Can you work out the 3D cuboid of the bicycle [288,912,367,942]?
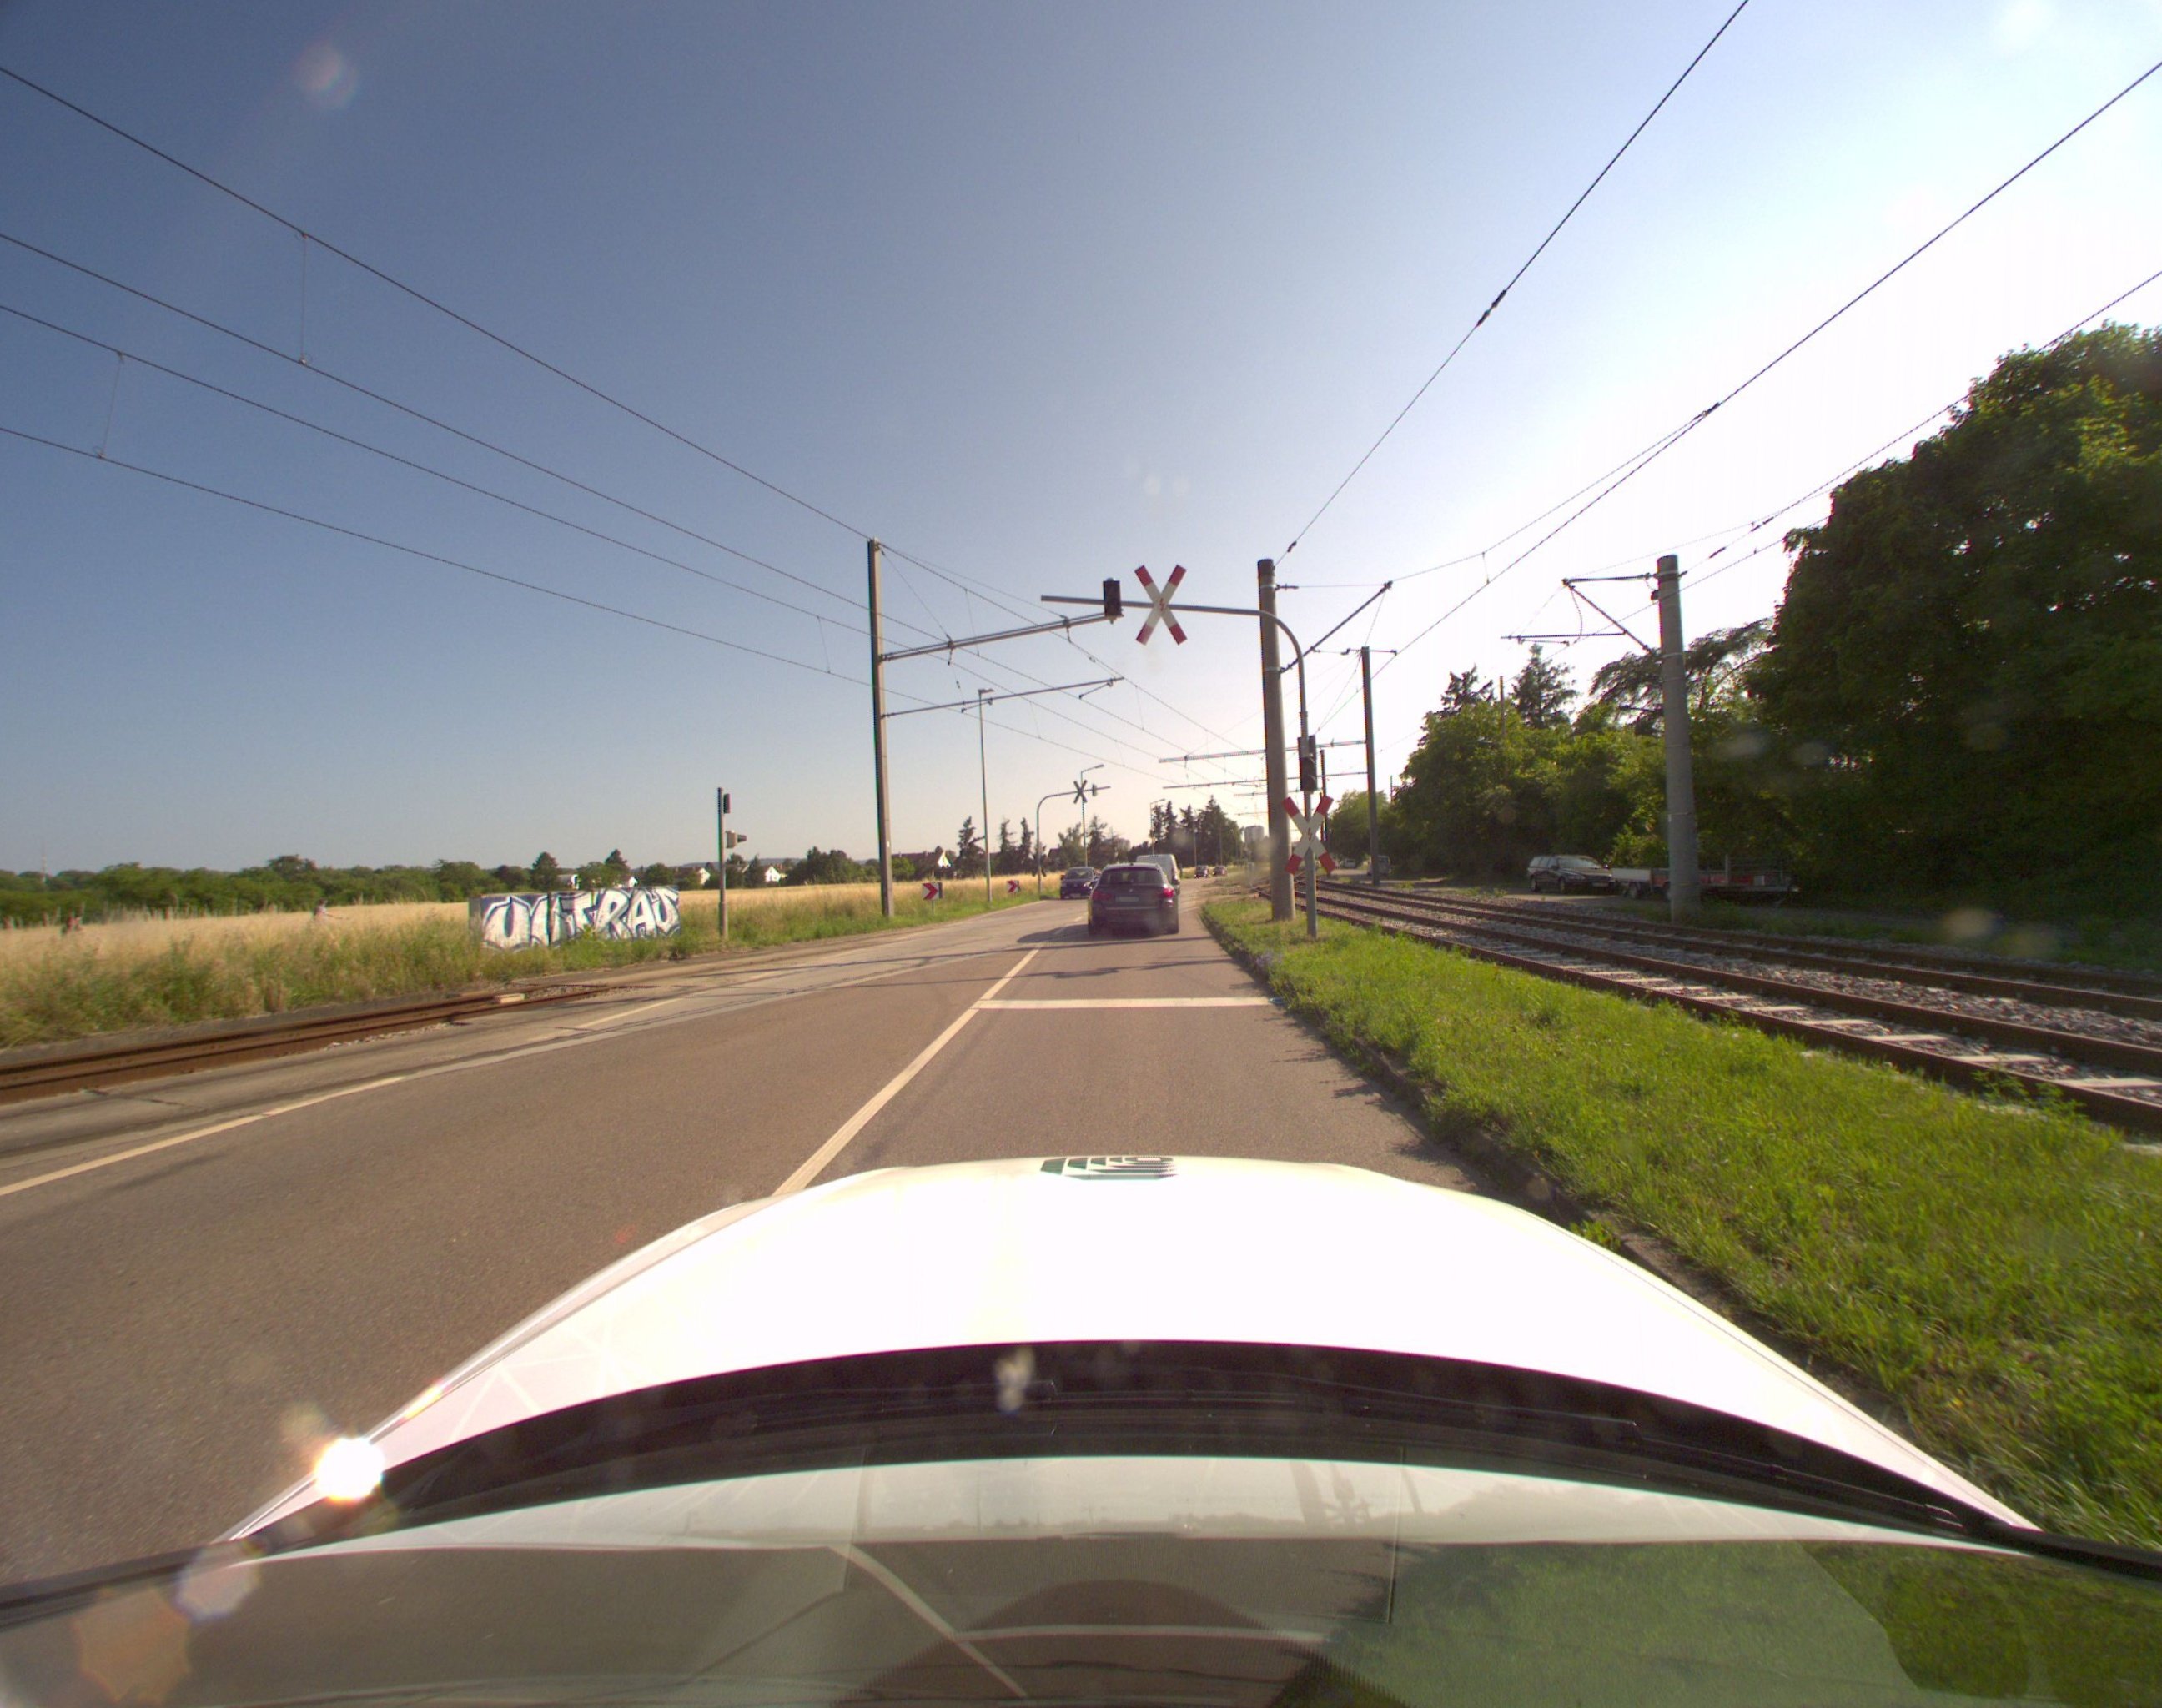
[{"bbox_3d":[-24.884,2.400,26.932,0.743,0.839,1.745,-2,-1,23],"label":"bicycle"}]

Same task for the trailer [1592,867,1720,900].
[{"bbox_3d":[17.874,0.888,25.529,1.722,0.939,3.735,1,-1,7],"label":"trailer"}]

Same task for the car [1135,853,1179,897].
[{"bbox_3d":[3.757,0.983,39.667,1.847,1.988,5.118,-2,-1,8],"label":"car"}]

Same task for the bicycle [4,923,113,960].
[{"bbox_3d":[-27.899,2.365,22.250,0.607,0.839,1.745,-2,-1,23],"label":"bicycle"}]

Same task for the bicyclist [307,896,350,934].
[{"bbox_3d":[-24.899,2.026,26.950,0.739,1.205,0.794,-2,-1,22],"label":"bicyclist"}]

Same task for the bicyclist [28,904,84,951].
[{"bbox_3d":[-27.934,2.002,22.199,0.597,1.205,0.794,-2,-1,22],"label":"bicyclist"}]

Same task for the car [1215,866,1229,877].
[{"bbox_3d":[20.504,2.560,118.238,1.700,1.549,3.944,-2,-1,15],"label":"car"}]

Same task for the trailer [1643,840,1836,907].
[{"bbox_3d":[17.155,0.487,21.539,2.016,1.596,4.267,0,-1,7],"label":"trailer"}]

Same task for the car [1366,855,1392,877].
[{"bbox_3d":[28.565,1.145,78.249,1.979,2.004,5.087,0,-1,16],"label":"car"}]

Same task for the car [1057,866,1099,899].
[{"bbox_3d":[-0.078,1.375,39.852,1.616,1.494,4.005,-3,-2,5],"label":"car"}]

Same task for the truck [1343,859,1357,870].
[{"bbox_3d":[49.879,1.941,151.024,2.188,1.819,5.954,-2,-1,16],"label":"truck"}]

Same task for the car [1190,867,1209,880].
[{"bbox_3d":[15.246,2.483,104.371,1.693,1.665,4.610,-2,-1,17],"label":"car"}]

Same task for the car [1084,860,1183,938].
[{"bbox_3d":[1.118,0.879,18.110,1.861,1.452,4.746,-2,0,2],"label":"car"}]

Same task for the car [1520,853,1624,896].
[{"bbox_3d":[18.186,0.716,30.432,1.688,1.456,4.893,0,0,10],"label":"car"}]
